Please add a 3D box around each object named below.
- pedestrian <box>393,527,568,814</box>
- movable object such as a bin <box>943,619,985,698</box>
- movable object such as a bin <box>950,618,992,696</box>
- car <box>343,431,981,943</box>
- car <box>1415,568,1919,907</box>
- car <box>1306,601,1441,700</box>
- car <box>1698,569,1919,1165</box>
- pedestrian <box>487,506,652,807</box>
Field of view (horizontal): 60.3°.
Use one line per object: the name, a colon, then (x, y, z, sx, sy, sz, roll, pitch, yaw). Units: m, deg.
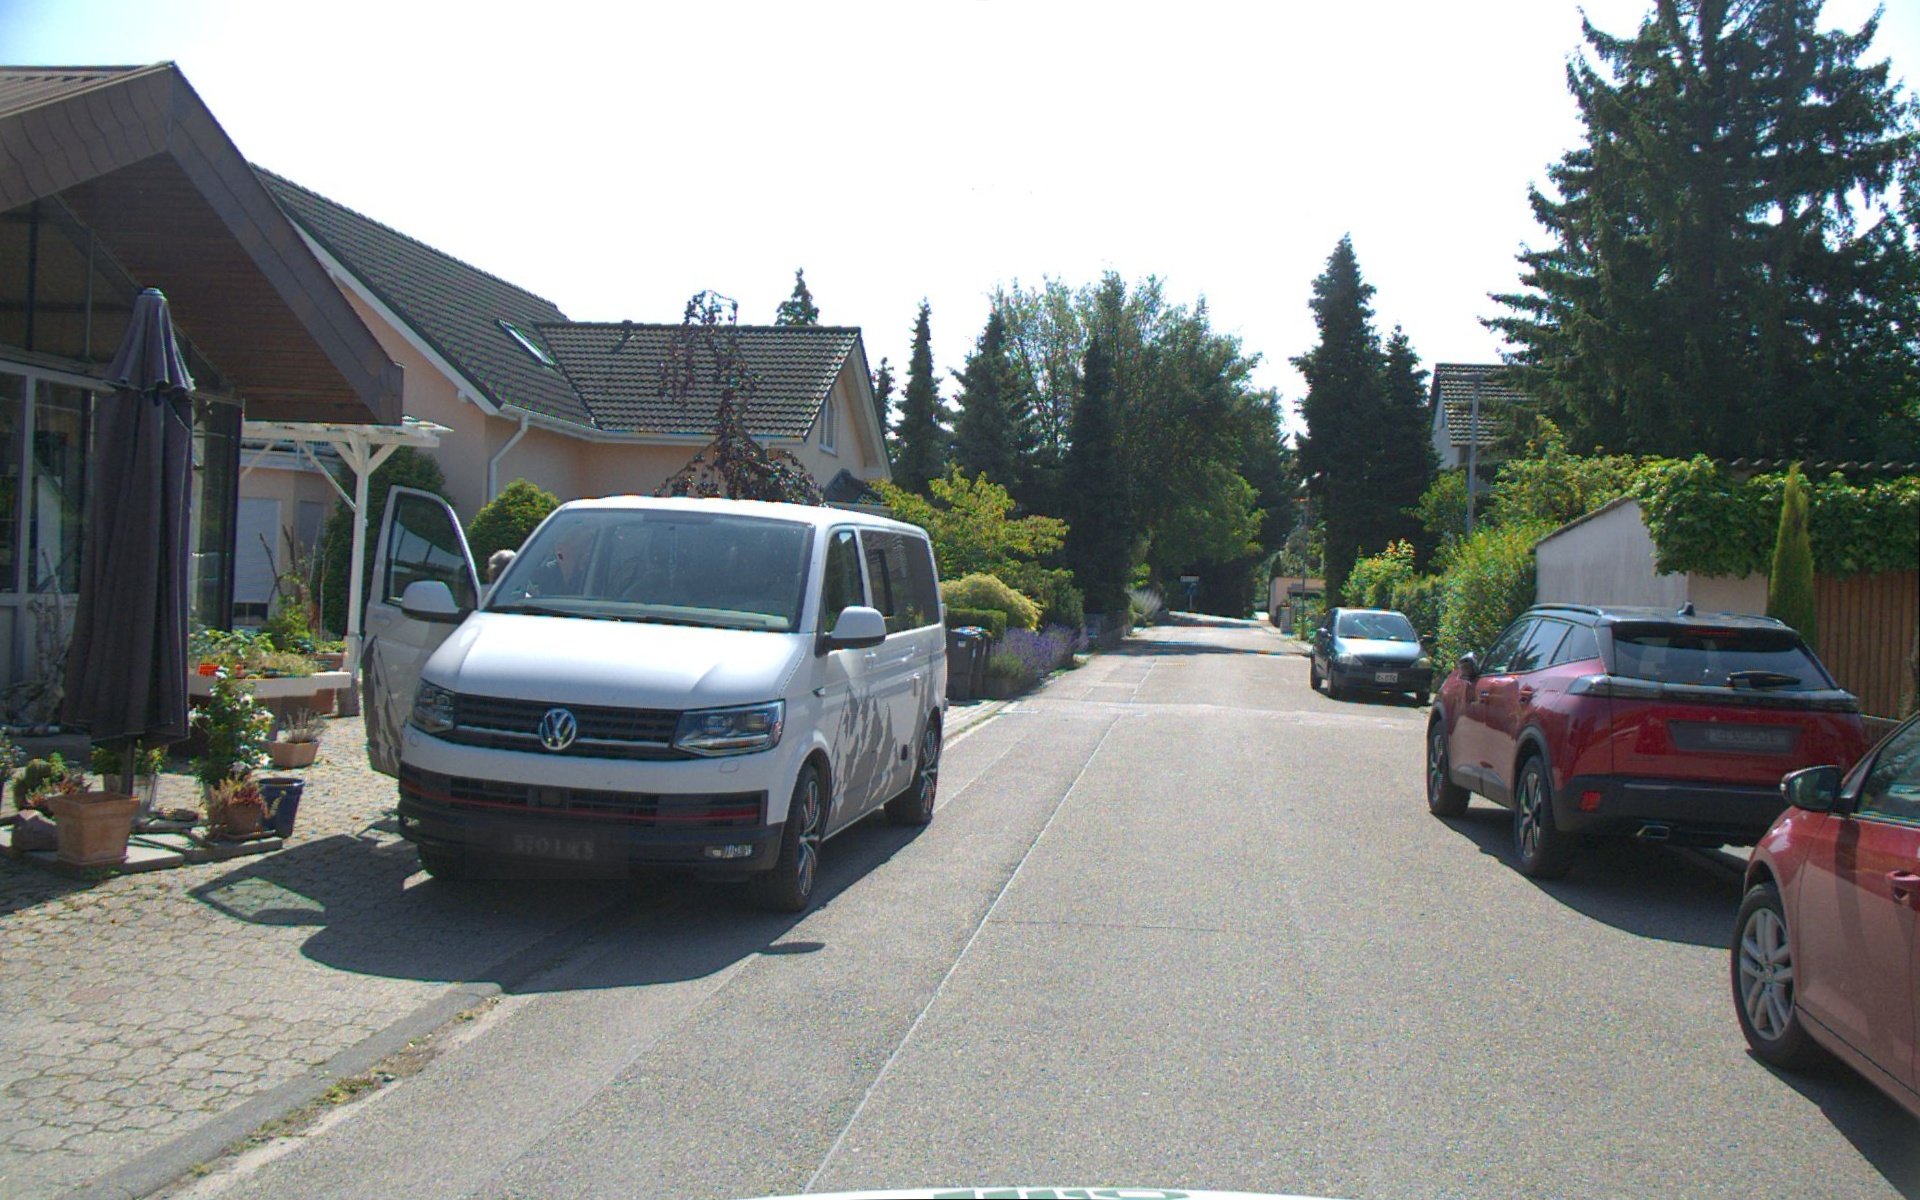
pedestrian: (-2.767, 0.383, 9.547, 0.707, 1.565, 0.638, 3, 1, 42)
movable object such as a bin: (0.054, 0.787, 22.427, 0.483, 1.042, 0.448, 2, 0, 9)
movable object such as a bin: (0.152, 0.785, 22.880, 0.483, 1.042, 0.448, 2, 0, 9)
car: (-1.252, 0.350, 9.354, 1.888, 2.049, 4.900, 2, 0, 10)
car: (4.209, 0.707, 10.584, 1.784, 1.643, 4.003, 3, 0, 6)
car: (6.817, 0.784, 27.604, 1.666, 1.424, 4.003, 3, 0, 7)
car: (3.377, 0.732, 4.324, 1.738, 1.505, 4.003, 4, 0, 12)
pedestrian: (-2.402, 0.327, 10.180, 0.679, 1.761, 0.639, 3, 1, 39)
